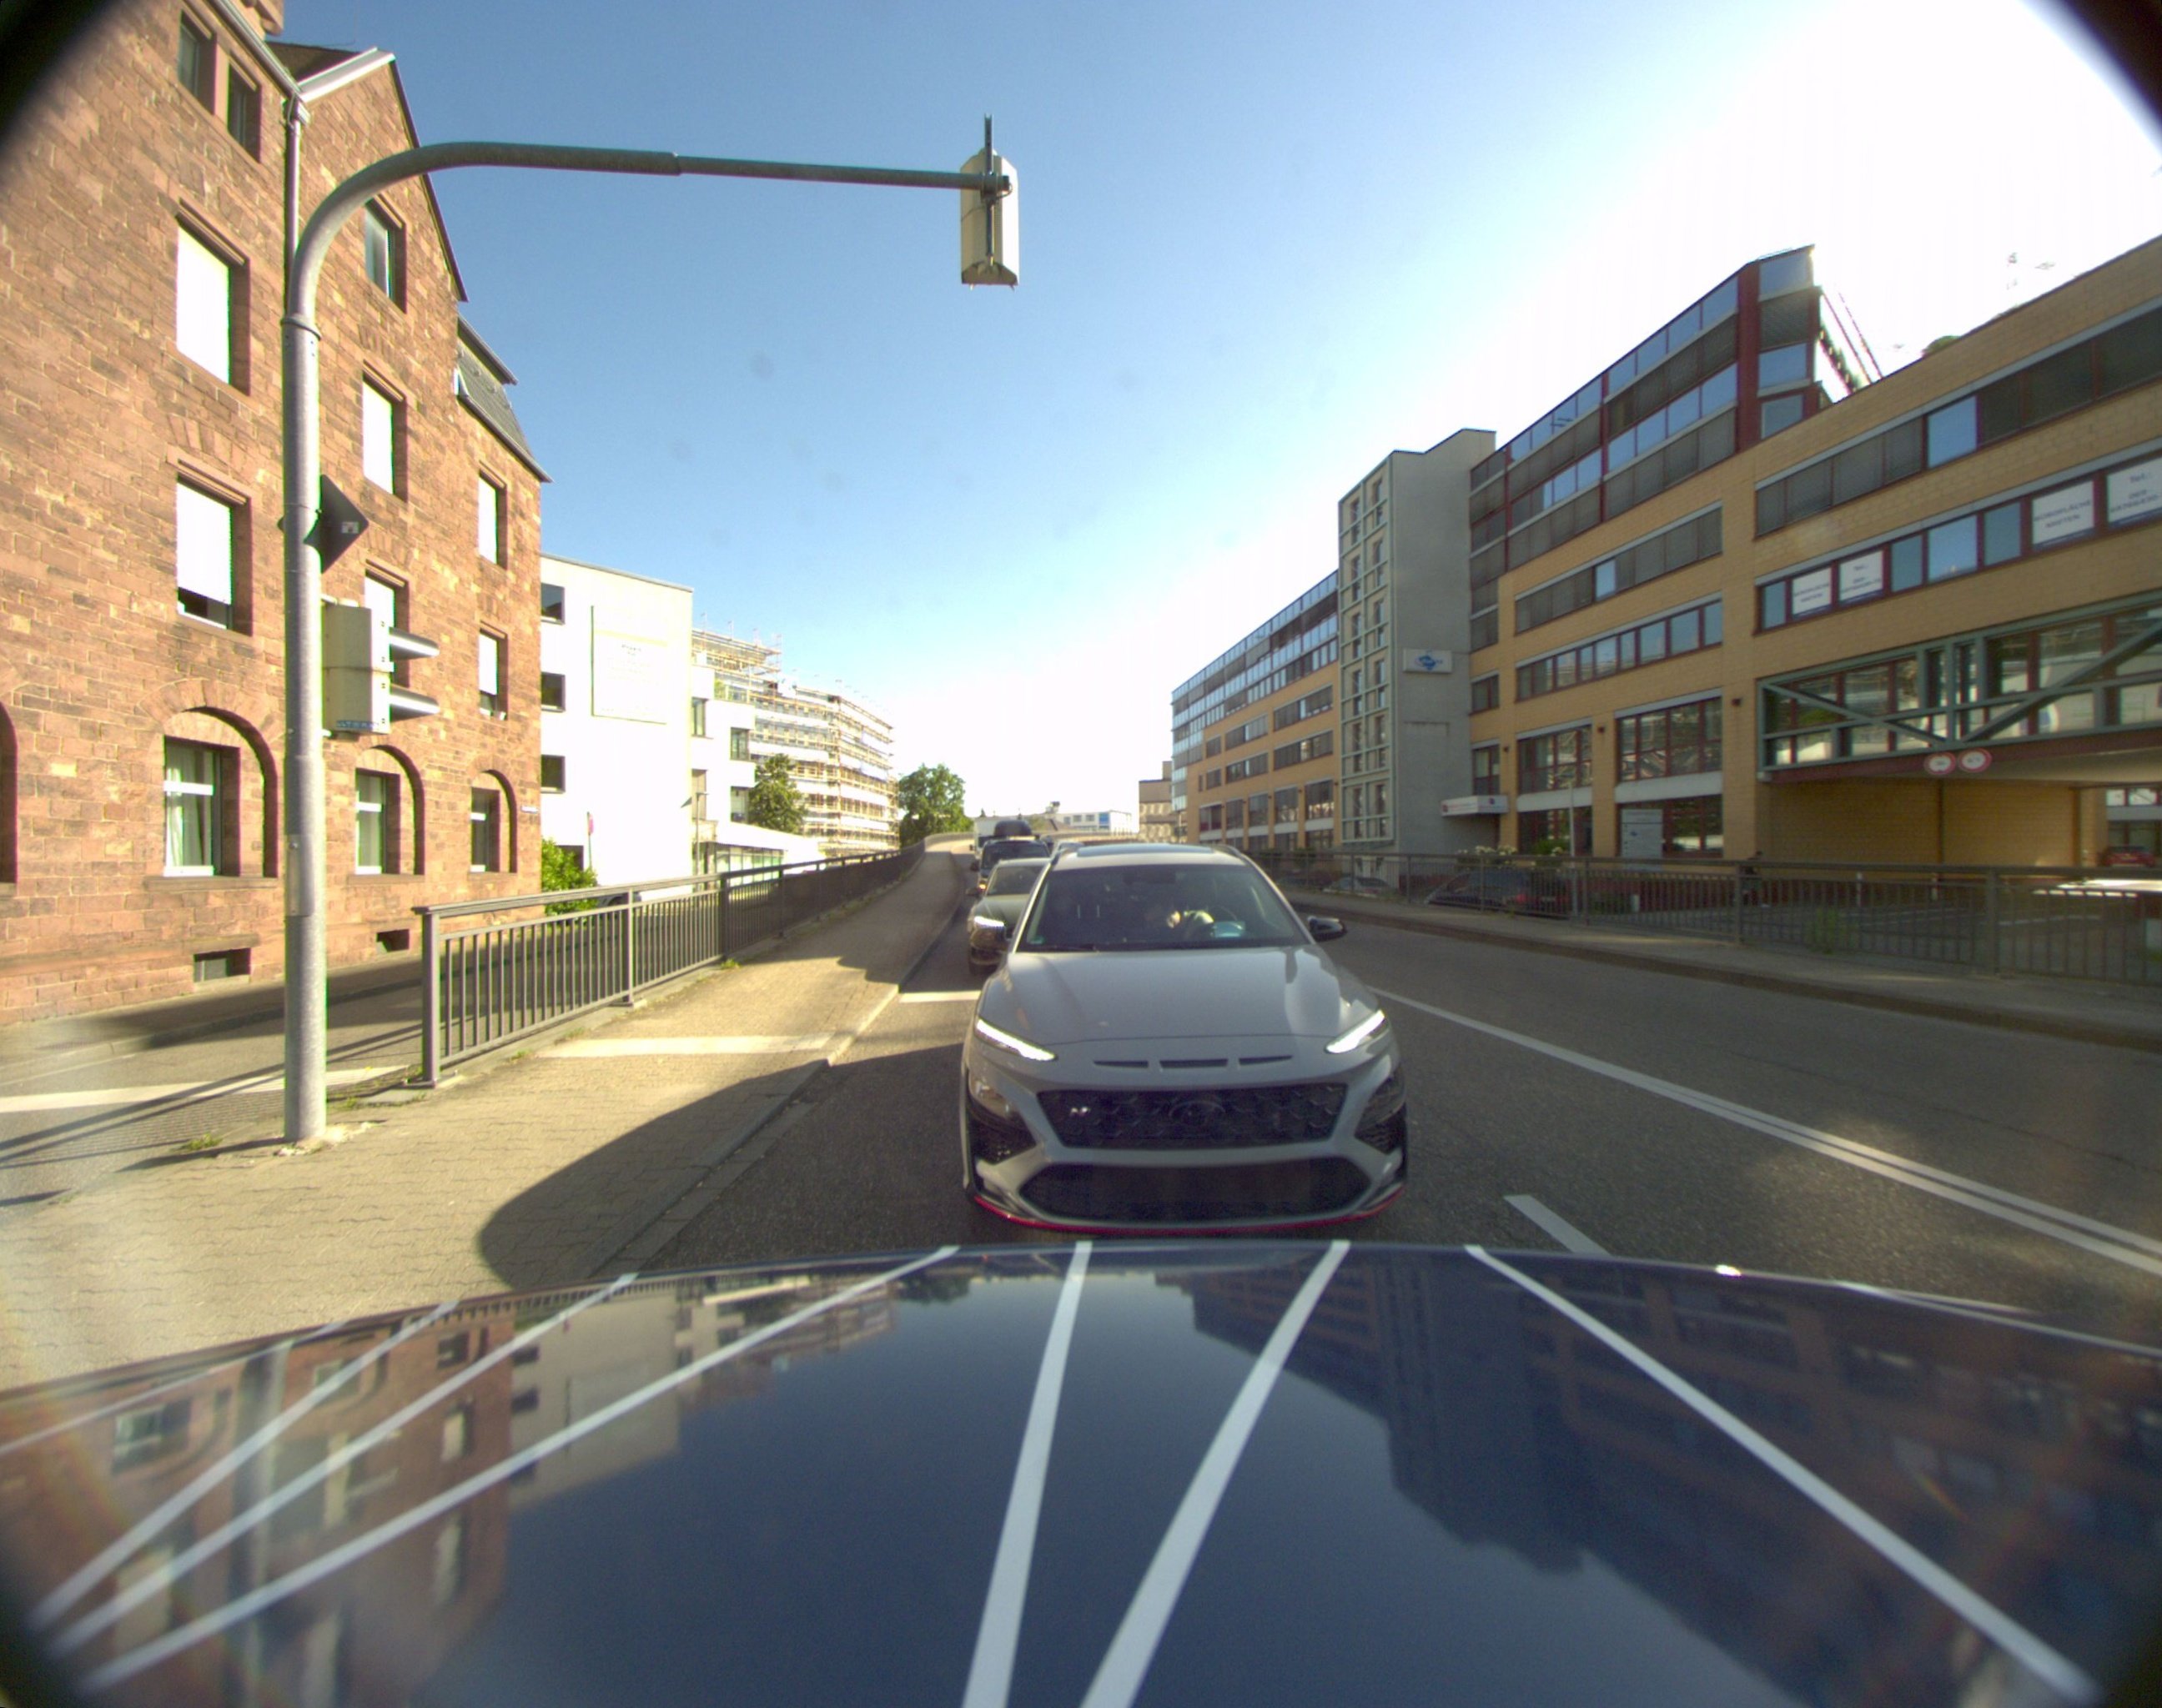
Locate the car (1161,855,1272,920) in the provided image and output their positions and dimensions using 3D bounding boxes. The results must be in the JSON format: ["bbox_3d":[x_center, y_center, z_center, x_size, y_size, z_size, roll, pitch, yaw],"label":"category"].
[{"bbox_3d":[3.240,0.748,18.881,1.573,1.399,3.818,0,1,-9],"label":"car"}]

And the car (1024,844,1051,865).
[{"bbox_3d":[-3.466,0.038,59.795,1.688,1.593,4.753,0,1,-9],"label":"car"}]

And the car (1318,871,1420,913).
[{"bbox_3d":[11.413,1.475,30.454,1.881,1.514,4.157,0,-1,-11],"label":"car"}]

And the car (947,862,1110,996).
[{"bbox_3d":[-0.771,0.887,11.101,1.879,1.462,4.633,0,0,-4],"label":"car"}]

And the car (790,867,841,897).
[{"bbox_3d":[-14.432,1.487,41.503,2.054,1.522,4.089,-1,-1,-11],"label":"car"}]

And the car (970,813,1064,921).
[{"bbox_3d":[-1.563,0.296,18.284,1.951,2.248,4.783,0,-1,-5],"label":"car"}]

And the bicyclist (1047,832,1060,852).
[{"bbox_3d":[-2.681,-1.178,73.181,1.083,1.861,1.083,-2,1,-9],"label":"bicyclist"}]

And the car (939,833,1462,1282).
[{"bbox_3d":[0.499,0.747,4.848,1.878,1.612,4.197,0,0,2],"label":"car"}]

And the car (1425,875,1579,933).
[{"bbox_3d":[12.469,1.411,22.825,1.639,1.514,4.156,0,-1,-14],"label":"car"}]

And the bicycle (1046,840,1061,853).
[{"bbox_3d":[-2.661,-0.692,73.206,1.083,1.223,2.781,-2,1,-9],"label":"bicycle"}]

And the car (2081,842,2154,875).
[{"bbox_3d":[54.017,0.227,39.673,4.007,1.512,1.763,-3,1,-43],"label":"car"}]

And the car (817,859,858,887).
[{"bbox_3d":[-15.806,1.232,49.451,2.054,1.676,4.089,-1,-1,-11],"label":"car"}]

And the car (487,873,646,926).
[{"bbox_3d":[-17.058,1.446,25.319,4.101,1.522,1.914,0,-1,-44],"label":"car"}]

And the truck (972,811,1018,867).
[{"bbox_3d":[-5.220,-0.809,45.850,2.504,3.109,6.956,-1,-1,-7],"label":"truck"}]

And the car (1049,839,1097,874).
[{"bbox_3d":[-0.486,0.098,40.350,1.838,1.745,4.485,0,1,-10],"label":"car"}]

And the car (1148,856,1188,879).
[{"bbox_3d":[6.369,0.968,56.081,2.000,1.499,3.997,-2,1,-8],"label":"car"}]

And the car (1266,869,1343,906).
[{"bbox_3d":[10.358,1.512,35.510,1.885,1.554,3.997,0,-1,-9],"label":"car"}]

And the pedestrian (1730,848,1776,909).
[{"bbox_3d":[20.770,0.747,23.498,0.747,1.840,0.705,-2,0,-5],"label":"pedestrian"}]

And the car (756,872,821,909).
[{"bbox_3d":[-13.364,1.627,34.984,2.054,1.522,4.089,-1,-1,-11],"label":"car"}]
